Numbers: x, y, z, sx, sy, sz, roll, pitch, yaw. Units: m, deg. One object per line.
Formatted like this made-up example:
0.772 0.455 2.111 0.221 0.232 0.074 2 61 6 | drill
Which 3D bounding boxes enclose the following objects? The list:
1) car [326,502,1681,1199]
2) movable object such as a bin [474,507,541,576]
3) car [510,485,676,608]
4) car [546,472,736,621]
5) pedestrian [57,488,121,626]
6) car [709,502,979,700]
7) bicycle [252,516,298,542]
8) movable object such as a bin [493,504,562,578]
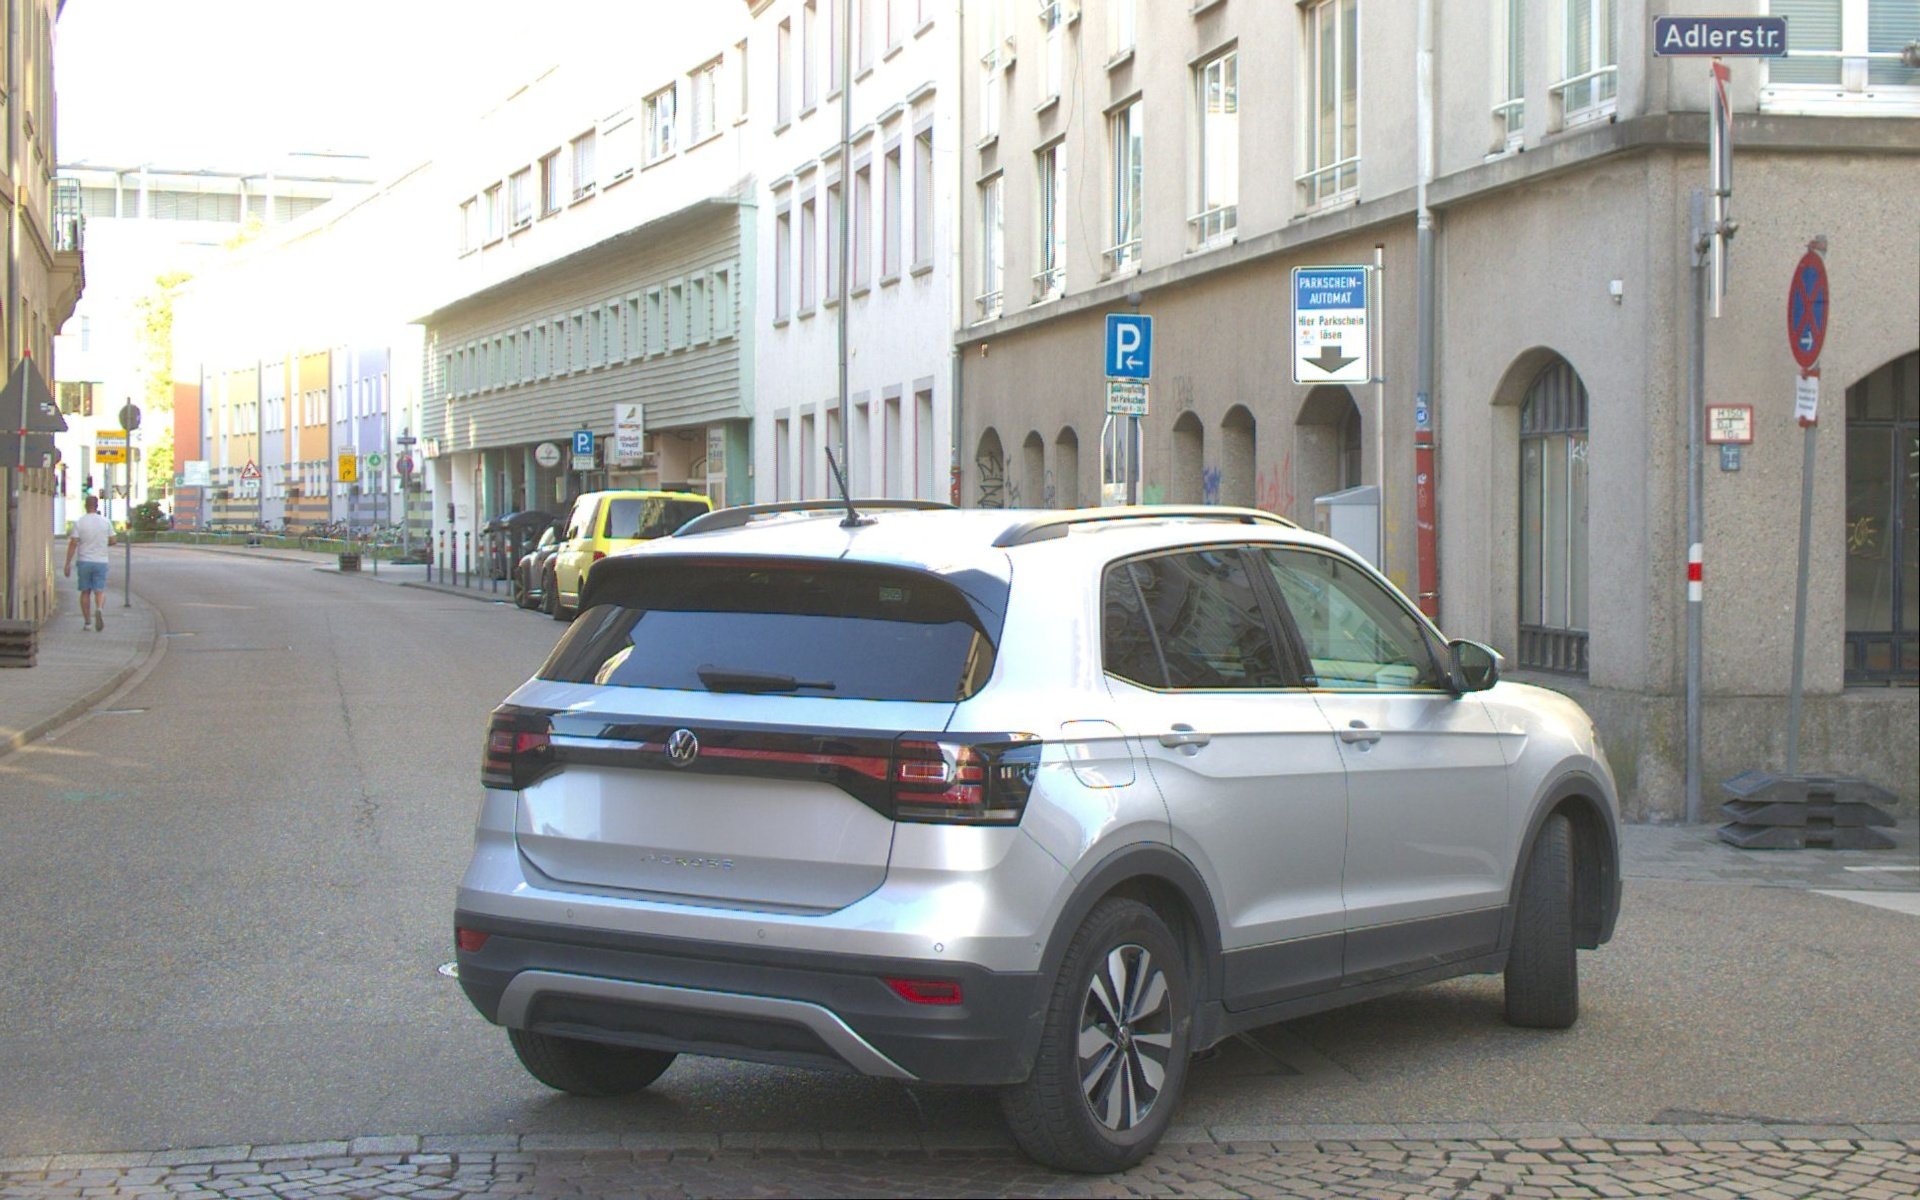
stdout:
0.347 0.520 9.482 1.840 1.557 3.992 1 2 34 | car
-9.786 -1.275 74.325 1.131 1.474 1.740 0 1 -17 | movable object such as a bin
-5.835 -0.869 54.281 2.052 1.866 4.102 0 2 -14 | car
-4.552 -0.781 48.529 2.052 2.006 4.176 0 2 -14 | car
-10.910 -0.542 43.034 0.765 1.718 0.687 0 1 -15 | pedestrian
-1.155 -0.043 32.160 1.967 1.686 4.102 1 1 -9 | car
-27.215 -2.813 136.591 1.780 0.997 0.547 0 1 -15 | bicycle
-9.144 -1.250 72.639 1.131 1.552 1.740 0 1 -17 | movable object such as a bin
